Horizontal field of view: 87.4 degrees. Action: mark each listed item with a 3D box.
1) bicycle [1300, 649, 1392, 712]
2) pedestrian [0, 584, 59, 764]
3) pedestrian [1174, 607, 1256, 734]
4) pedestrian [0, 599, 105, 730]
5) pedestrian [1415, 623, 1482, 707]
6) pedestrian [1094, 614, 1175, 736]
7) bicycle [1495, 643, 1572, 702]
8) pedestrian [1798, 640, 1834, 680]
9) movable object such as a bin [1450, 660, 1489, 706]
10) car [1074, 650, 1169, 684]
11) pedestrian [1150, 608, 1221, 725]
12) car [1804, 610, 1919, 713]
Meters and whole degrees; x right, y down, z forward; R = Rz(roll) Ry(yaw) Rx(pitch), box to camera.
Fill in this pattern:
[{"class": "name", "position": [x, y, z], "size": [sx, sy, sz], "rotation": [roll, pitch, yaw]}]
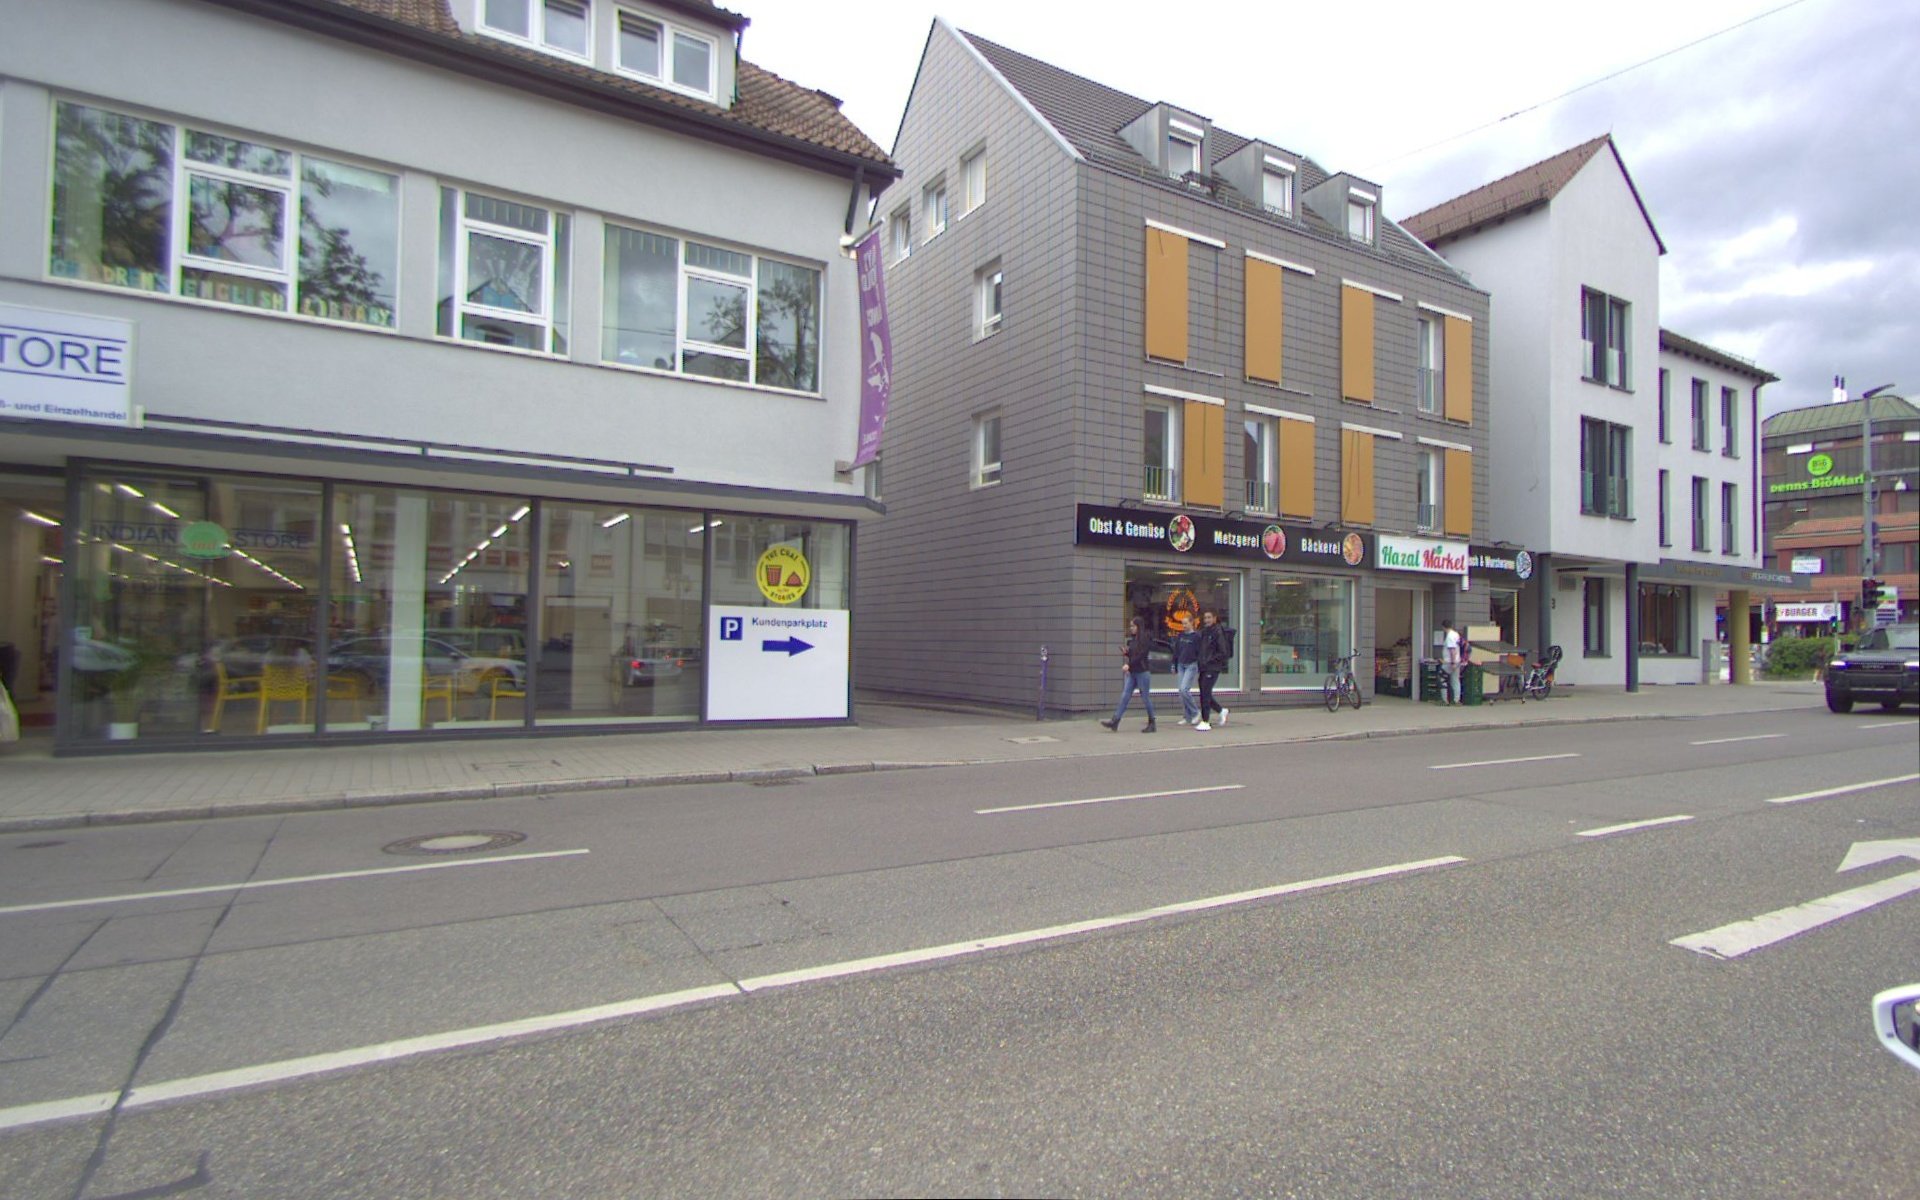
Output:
[{"class": "bicycle", "position": [7.286, 1.492, 18.917], "size": [1.880, 1.115, 0.569], "rotation": [1, -1, -30]}, {"class": "pedestrian", "position": [-9.424, 0.688, 9.516], "size": [0.855, 1.688, 1.001], "rotation": [1, -1, -5]}, {"class": "pedestrian", "position": [3.898, 1.058, 15.340], "size": [1.015, 1.863, 0.704], "rotation": [1, -2, -29]}, {"class": "pedestrian", "position": [-11.578, 0.805, 12.798], "size": [0.713, 1.601, 0.846], "rotation": [0, -2, 34]}, {"class": "pedestrian", "position": [10.064, 1.320, 20.703], "size": [0.960, 1.665, 0.883], "rotation": [1, -1, -30]}, {"class": "pedestrian", "position": [2.548, 1.071, 14.688], "size": [0.859, 1.720, 0.800], "rotation": [1, -2, -29]}, {"class": "bicycle", "position": [12.859, 1.598, 22.505], "size": [2.096, 1.248, 0.579], "rotation": [2, -1, -32]}, {"class": "pedestrian", "position": [38.541, 2.679, 45.231], "size": [0.933, 1.778, 0.944], "rotation": [1, -2, -29]}, {"class": "movable object such as a bin", "position": [10.691, 1.739, 21.096], "size": [0.501, 0.911, 0.548], "rotation": [1, -1, -32]}, {"class": "car", "position": [5.987, 2.451, 37.188], "size": [3.307, 1.195, 1.390], "rotation": [1, -3, -26]}, {"class": "pedestrian", "position": [3.598, 1.051, 16.032], "size": [0.859, 1.805, 0.704], "rotation": [1, -2, -29]}, {"class": "car", "position": [20.204, 1.296, 21.421], "size": [4.715, 1.994, 1.914], "rotation": [2, -3, -31]}]
